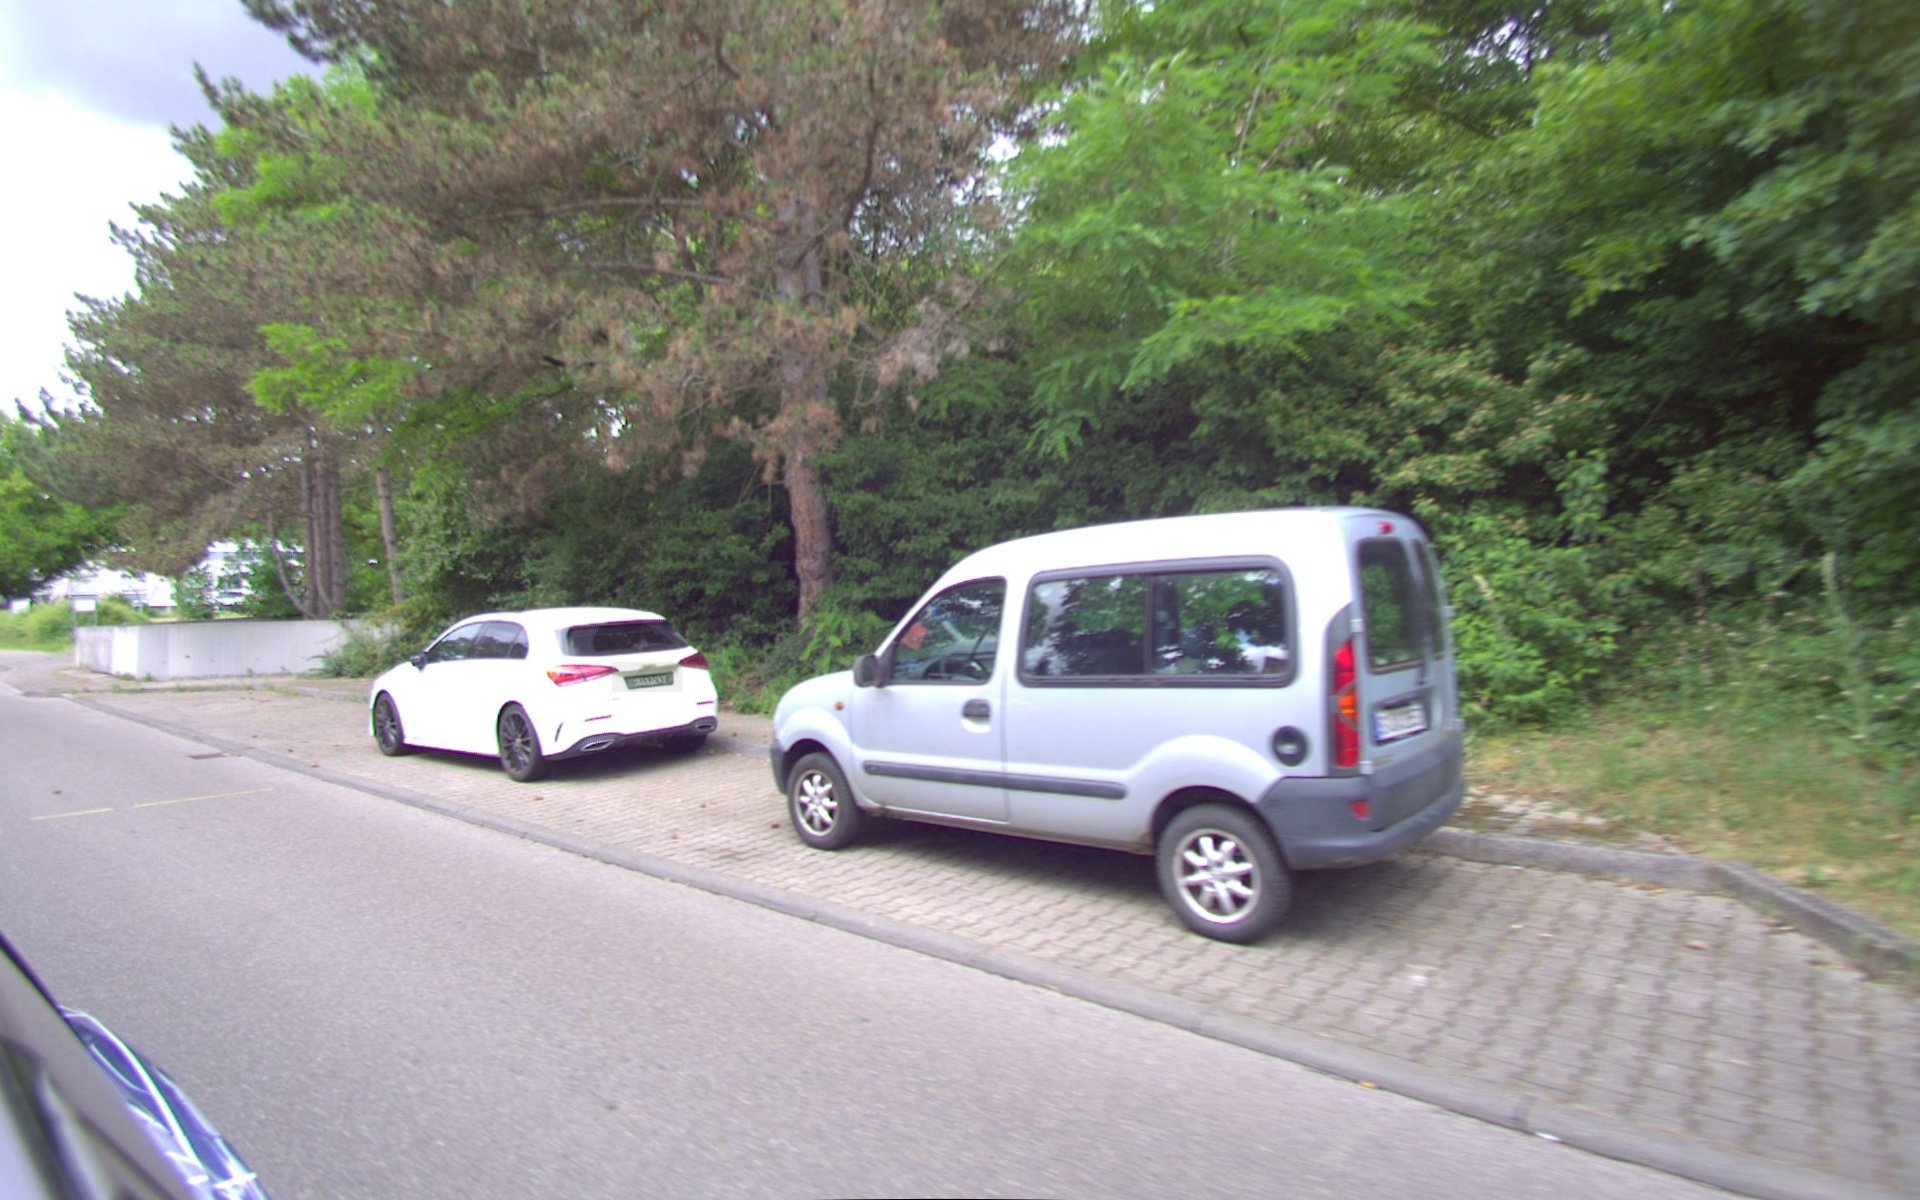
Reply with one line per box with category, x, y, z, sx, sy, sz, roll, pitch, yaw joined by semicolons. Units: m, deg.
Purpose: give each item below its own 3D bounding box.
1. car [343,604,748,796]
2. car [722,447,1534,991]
car;-4.194;0.826;9.897;4.368;1.413;1.788;-2;1;40
car;0.635;0.455;5.611;4.103;1.936;1.703;-3;1;42
